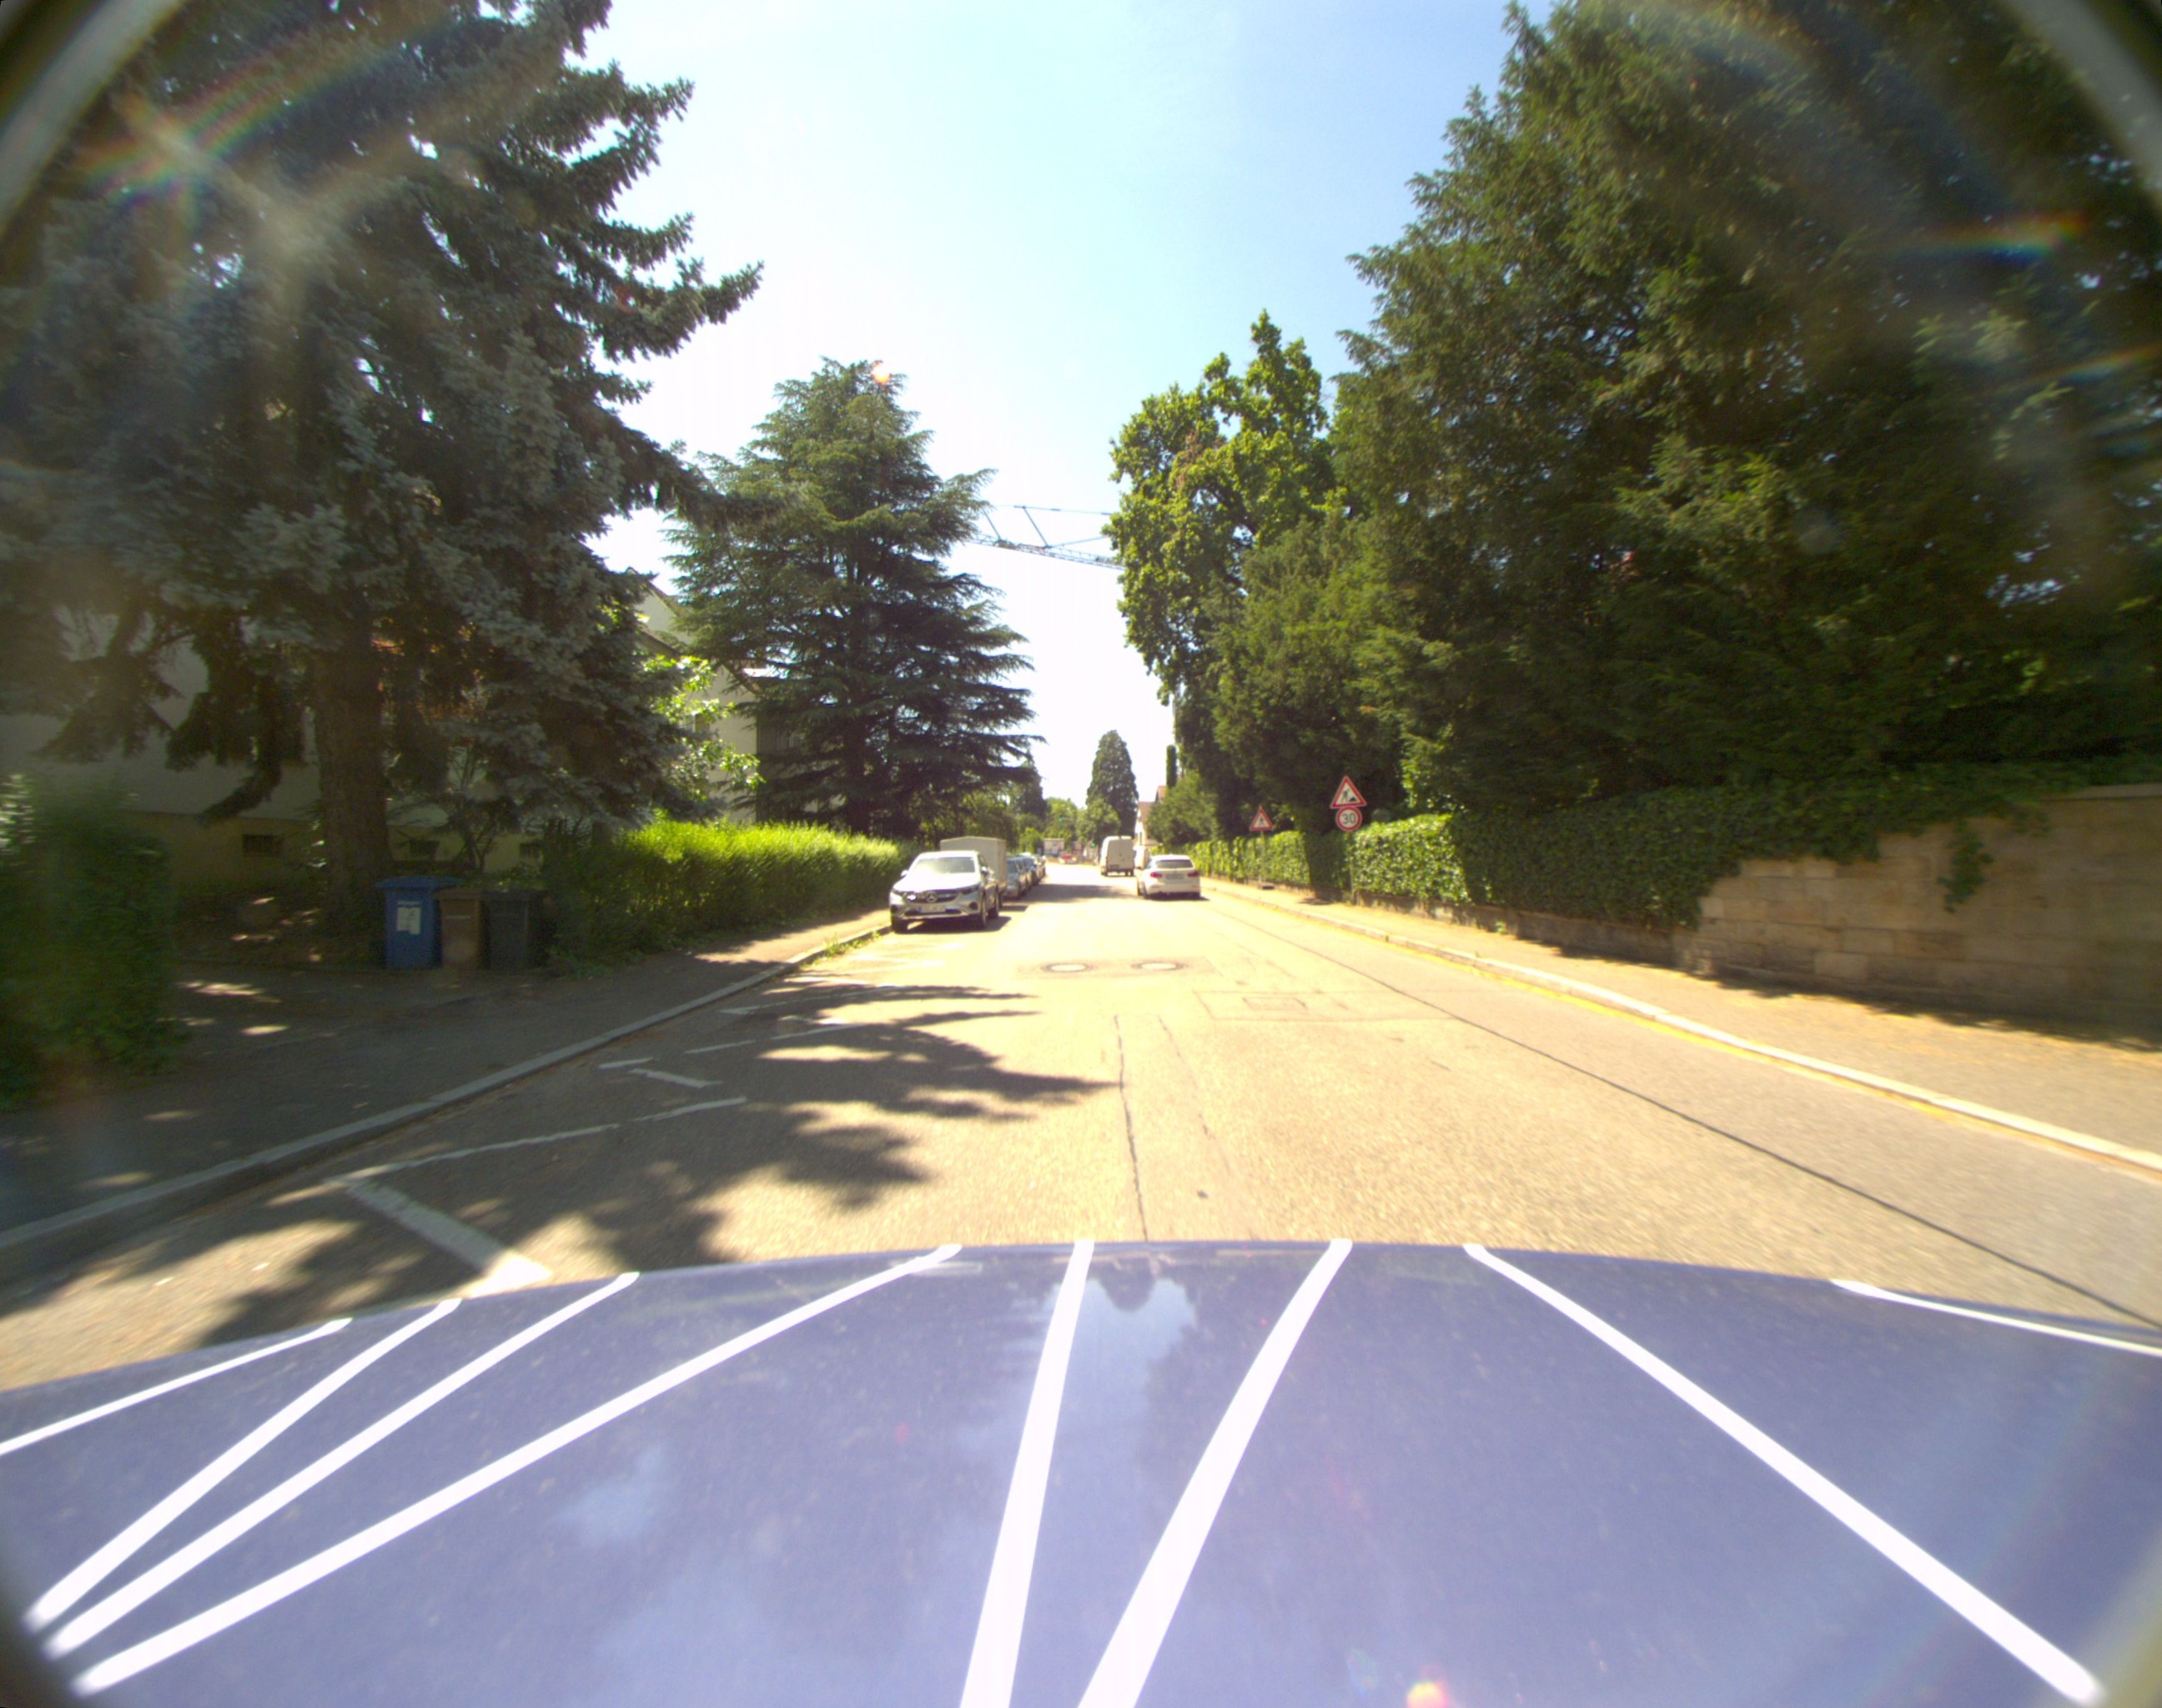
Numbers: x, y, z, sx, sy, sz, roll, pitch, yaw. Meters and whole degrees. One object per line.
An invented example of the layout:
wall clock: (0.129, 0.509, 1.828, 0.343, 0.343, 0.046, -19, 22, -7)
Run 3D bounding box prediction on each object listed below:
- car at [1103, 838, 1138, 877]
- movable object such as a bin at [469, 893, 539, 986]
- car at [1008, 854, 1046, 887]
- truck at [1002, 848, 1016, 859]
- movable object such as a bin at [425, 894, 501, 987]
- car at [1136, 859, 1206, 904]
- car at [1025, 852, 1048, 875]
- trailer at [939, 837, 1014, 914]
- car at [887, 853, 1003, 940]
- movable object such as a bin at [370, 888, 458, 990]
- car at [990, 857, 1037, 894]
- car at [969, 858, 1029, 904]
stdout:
car: (2.632, 0.214, 52.126, 1.999, 2.518, 5.893, 0, 0, -1)
movable object such as a bin: (-6.521, 0.953, 8.599, 0.405, 0.985, 0.449, -2, 1, 1)
car: (-2.700, 0.792, 38.606, 1.619, 1.443, 4.373, -3, 1, -1)
truck: (-15.107, -0.095, 159.150, 2.135, 2.325, 6.427, 0, -1, -13)
movable object such as a bin: (-6.977, 0.965, 8.592, 0.425, 0.985, 0.472, -2, 0, 1)
car: (2.988, 0.873, 26.061, 1.869, 1.375, 4.604, 1, 0, 0)
car: (-3.153, 0.644, 54.295, 1.586, 1.566, 4.007, -1, 0, -3)
trailer: (-3.008, 0.594, 22.536, 1.684, 2.055, 3.708, -2, 0, -1)
car: (-2.866, 0.839, 17.008, 1.776, 1.622, 4.604, -2, 0, -1)
movable object such as a bin: (-7.489, 0.934, 8.546, 0.449, 1.075, 0.559, -2, 0, 1)
car: (-2.826, 0.862, 32.533, 1.618, 1.461, 4.064, -1, 0, 0)
car: (-2.818, 0.901, 26.971, 1.618, 1.388, 4.258, -2, 1, 0)
